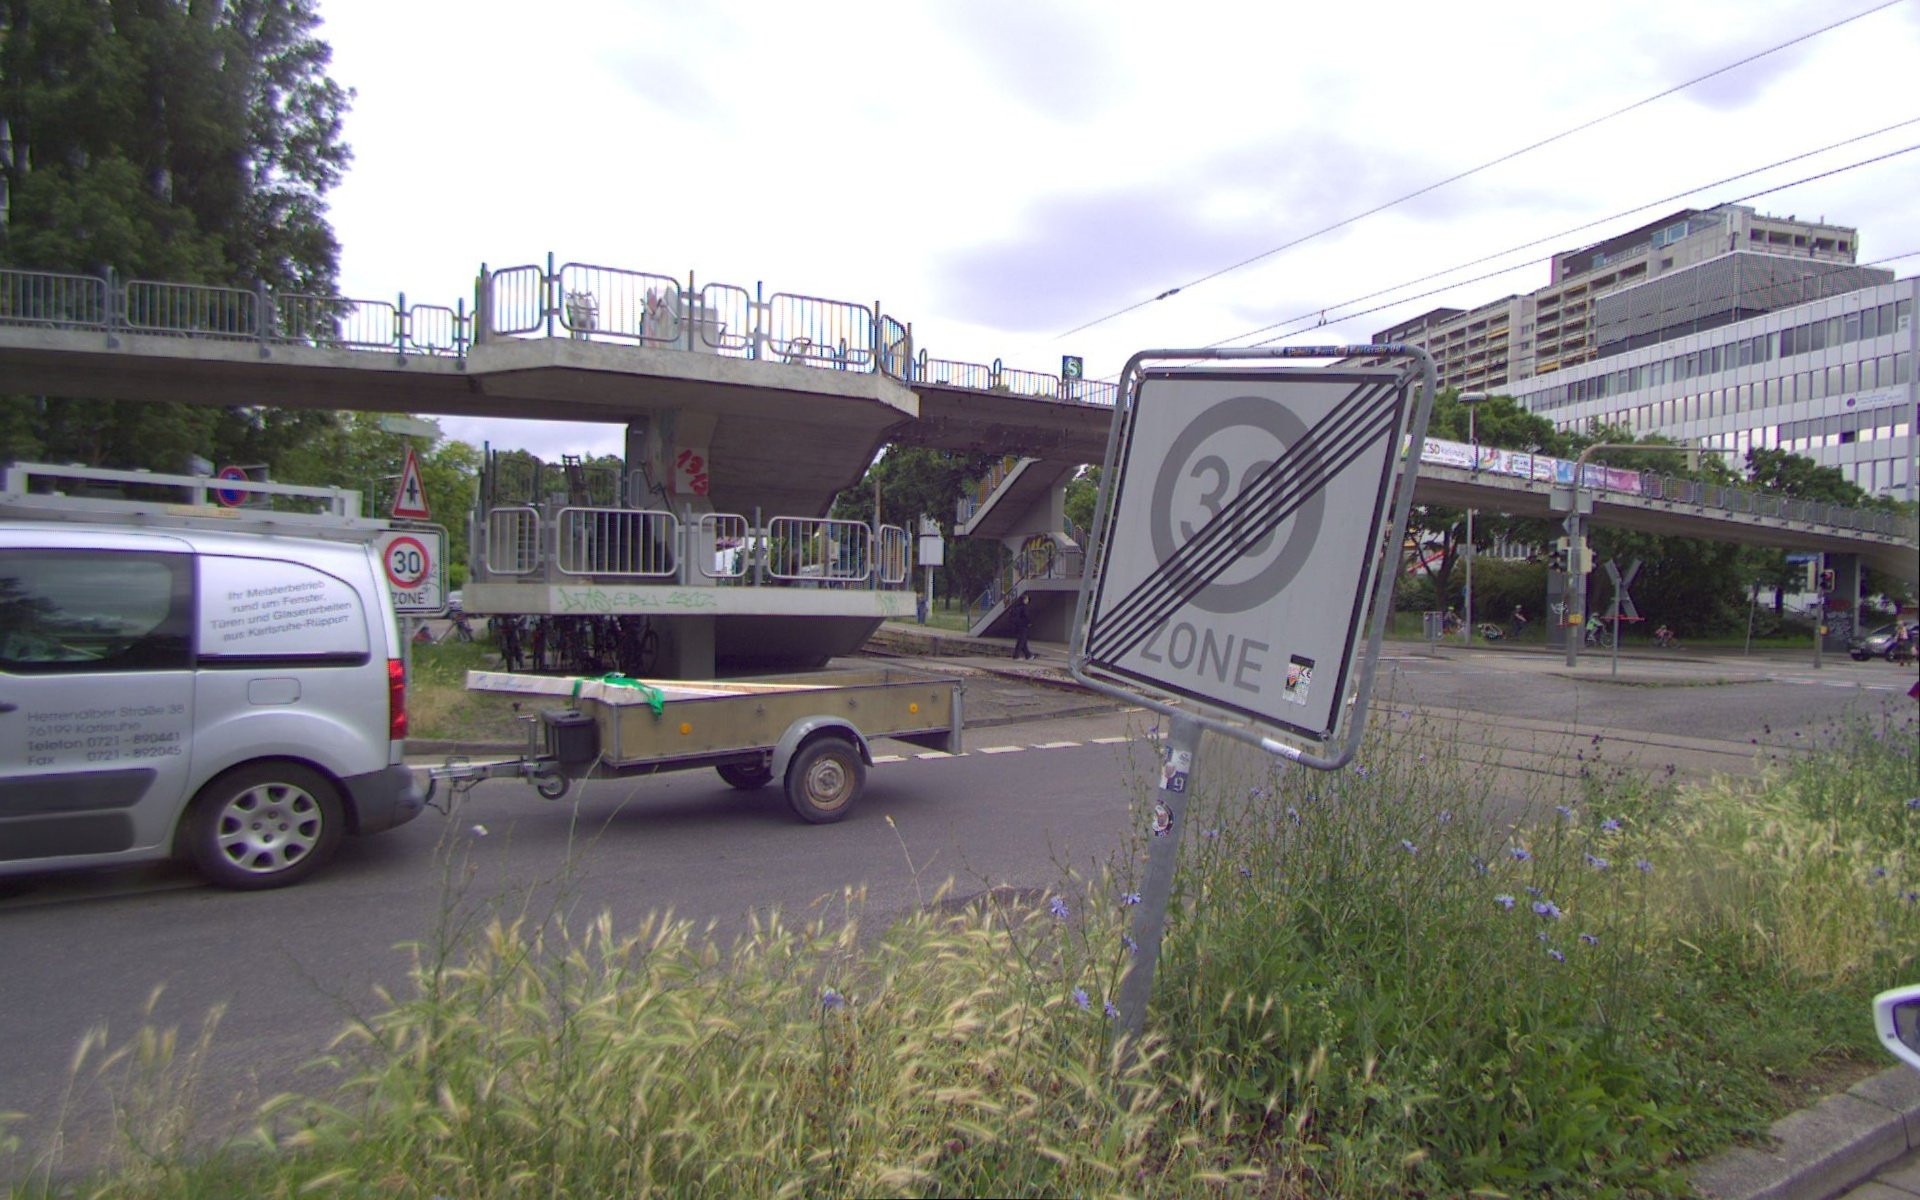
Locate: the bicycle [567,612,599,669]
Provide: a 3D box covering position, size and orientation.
[{"bbox_3d":[-6.479,0.668,17.234,0.389,0.897,1.632,1,0,-24],"label":"bicycle"}]

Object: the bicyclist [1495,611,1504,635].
[{"bbox_3d":[29.492,1.252,54.912,0.376,1.321,0.278,1,1,24],"label":"bicyclist"}]

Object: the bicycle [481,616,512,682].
[{"bbox_3d":[-6.914,0.704,14.994,0.389,0.897,1.632,1,0,-24],"label":"bicycle"}]

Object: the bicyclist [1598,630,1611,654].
[{"bbox_3d":[32.913,2.145,51.269,0.372,1.197,0.403,0,1,-28],"label":"bicyclist"}]

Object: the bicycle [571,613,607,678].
[{"bbox_3d":[-5.622,0.664,15.197,0.389,0.897,1.632,1,0,-24],"label":"bicycle"}]

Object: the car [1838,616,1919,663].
[{"bbox_3d":[38.332,1.599,40.465,4.125,1.758,1.629,1,0,19],"label":"car"}]

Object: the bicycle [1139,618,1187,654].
[{"bbox_3d":[5.760,1.012,28.563,0.368,0.934,2.029,1,0,-18],"label":"bicycle"}]

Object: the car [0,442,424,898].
[{"bbox_3d":[-5.013,0.251,4.646,4.182,1.882,2.073,3,-1,-36],"label":"car"}]

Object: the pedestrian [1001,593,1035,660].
[{"bbox_3d":[1.481,0.672,25.599,0.593,1.664,0.659,1,1,-25],"label":"pedestrian"}]

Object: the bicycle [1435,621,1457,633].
[{"bbox_3d":[27.965,1.557,57.850,0.263,0.677,1.138,1,1,-37],"label":"bicycle"}]

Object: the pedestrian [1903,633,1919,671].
[{"bbox_3d":[41.407,2.259,43.648,0.572,1.600,0.777,2,0,42],"label":"pedestrian"}]

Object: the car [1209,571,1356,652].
[{"bbox_3d":[9.948,0.325,31.503,2.103,2.323,5.195,0,0,-12],"label":"car"}]

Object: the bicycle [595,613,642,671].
[{"bbox_3d":[-5.823,0.691,17.085,0.390,0.897,1.628,1,0,-32],"label":"bicycle"}]

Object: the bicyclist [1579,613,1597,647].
[{"bbox_3d":[31.400,1.514,50.248,0.525,1.666,0.562,2,0,-29],"label":"bicyclist"}]

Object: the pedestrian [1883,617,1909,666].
[{"bbox_3d":[33.334,1.463,35.768,0.402,1.714,0.612,1,1,-43],"label":"pedestrian"}]

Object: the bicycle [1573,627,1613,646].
[{"bbox_3d":[31.544,1.820,50.031,2.494,0.938,0.628,1,0,-31],"label":"bicycle"}]

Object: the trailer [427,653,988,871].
[{"bbox_3d":[-1.634,0.940,6.928,3.432,0.999,1.556,1,0,-36],"label":"trailer"}]

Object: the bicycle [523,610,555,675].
[{"bbox_3d":[-6.340,0.614,15.088,0.389,0.897,1.632,1,0,-24],"label":"bicycle"}]

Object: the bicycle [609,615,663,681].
[{"bbox_3d":[-4.830,0.696,15.048,0.387,0.897,1.741,1,0,-6],"label":"bicycle"}]

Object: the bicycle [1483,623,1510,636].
[{"bbox_3d":[29.359,1.605,54.957,1.273,0.701,0.290,1,1,25],"label":"bicycle"}]
